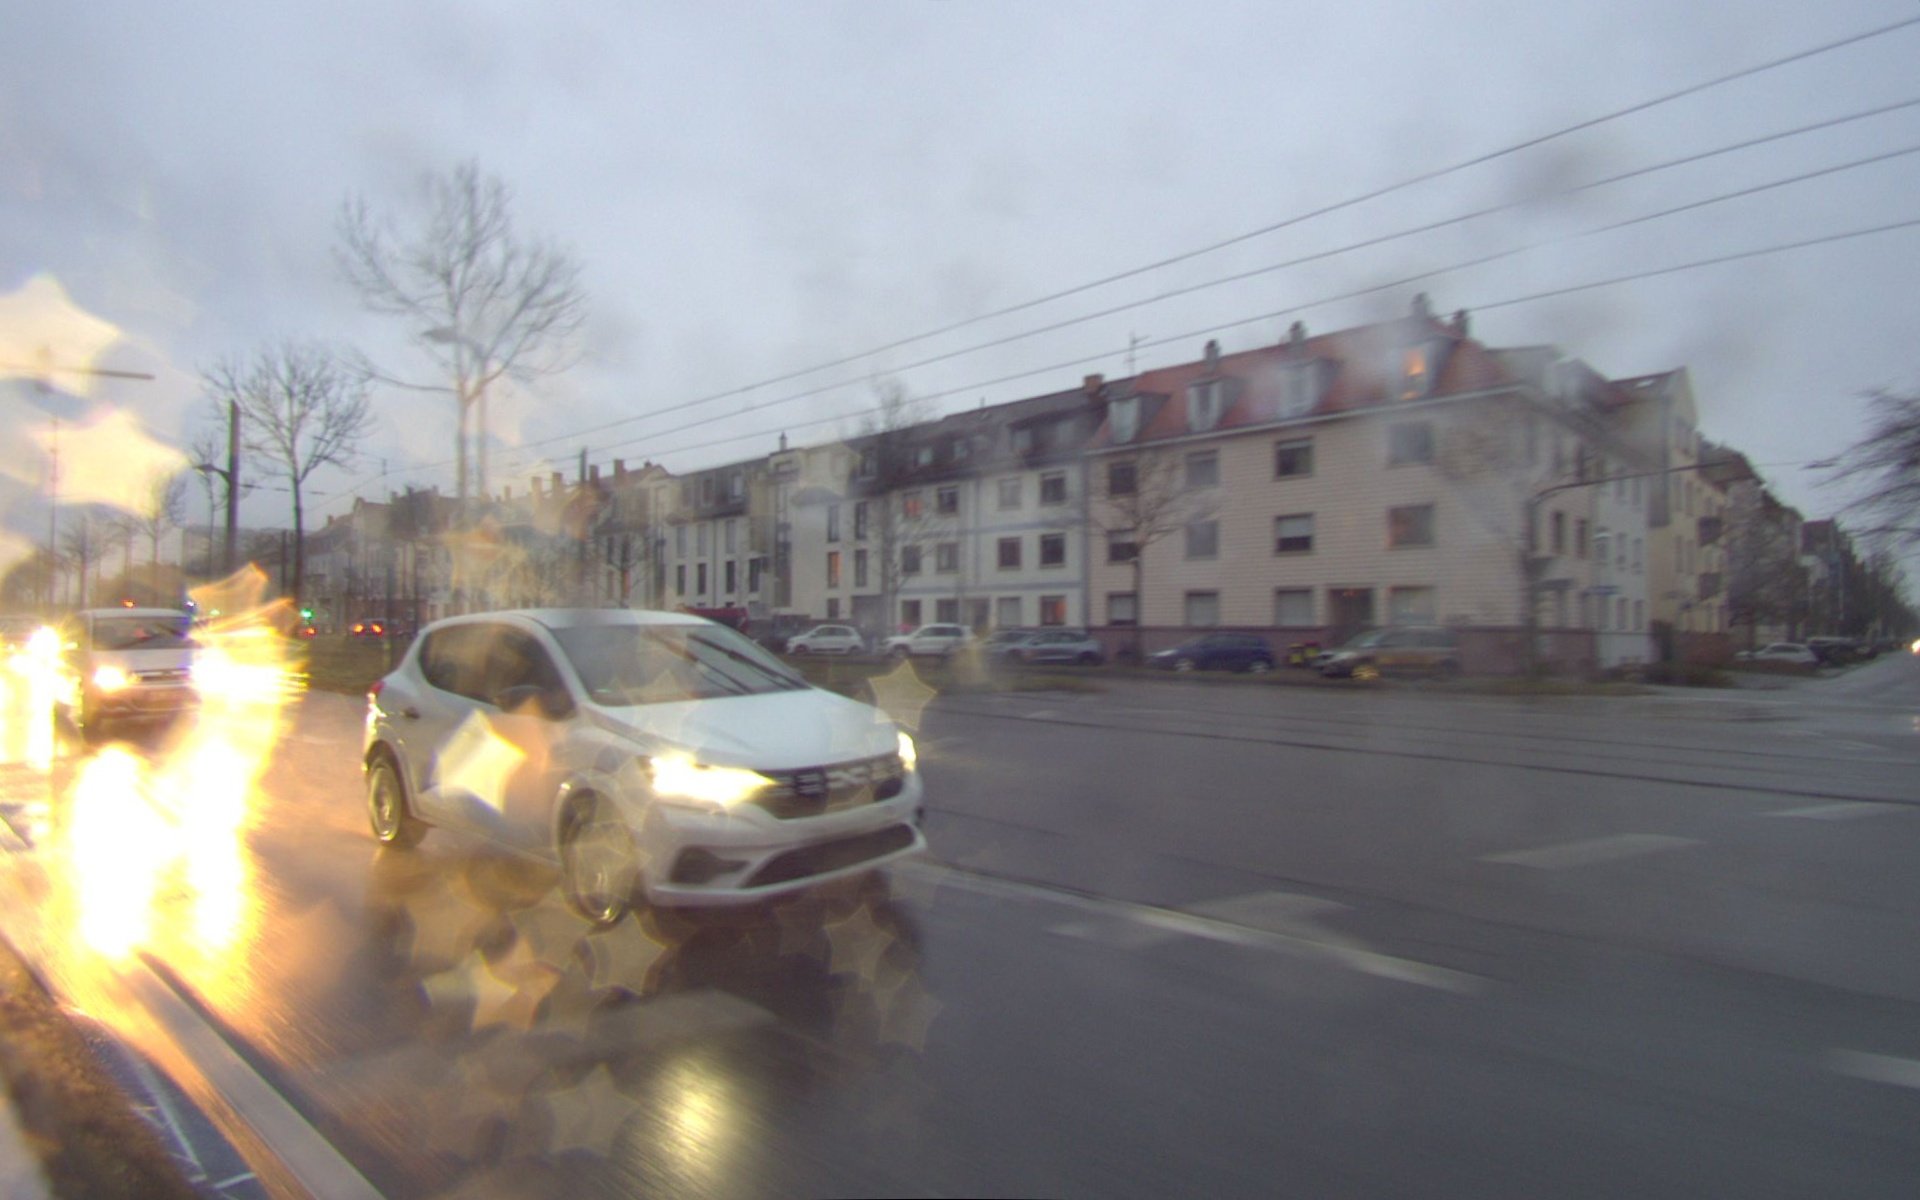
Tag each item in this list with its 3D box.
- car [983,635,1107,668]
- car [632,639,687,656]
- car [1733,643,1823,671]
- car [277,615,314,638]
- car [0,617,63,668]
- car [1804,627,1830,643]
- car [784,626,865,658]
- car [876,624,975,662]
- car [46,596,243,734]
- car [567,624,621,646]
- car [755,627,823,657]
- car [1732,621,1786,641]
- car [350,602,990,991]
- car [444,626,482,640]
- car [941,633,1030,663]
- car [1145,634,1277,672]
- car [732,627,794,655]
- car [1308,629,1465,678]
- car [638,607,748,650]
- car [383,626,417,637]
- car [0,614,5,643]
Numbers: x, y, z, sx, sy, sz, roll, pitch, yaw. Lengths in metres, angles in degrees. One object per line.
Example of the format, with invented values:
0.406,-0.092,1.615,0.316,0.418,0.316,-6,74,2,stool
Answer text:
3.114,1.906,37.263,4.333,1.140,1.251,1,0,-12,car
-17.970,2.842,60.652,3.058,1.014,1.189,0,-2,-12,car
45.108,3.132,55.875,3.517,1.448,1.550,0,0,16,car
-62.059,2.472,94.501,3.999,2.029,1.972,0,0,42,car
-30.331,1.354,32.489,4.092,1.513,1.949,-2,-1,43,car
104.017,4.205,122.779,3.940,1.796,2.002,0,0,-44,car
-6.234,1.923,46.530,3.548,1.395,1.317,0,-2,-14,car
-1.450,1.767,41.919,3.947,1.516,1.316,0,0,-11,car
-11.870,0.804,14.638,1.992,1.690,4.005,0,0,-42,car
-23.658,2.233,65.475,3.151,1.326,1.556,0,0,-16,car
-8.296,2.014,48.968,3.153,1.395,1.317,0,-2,-14,car
64.609,2.491,81.826,3.411,1.448,1.411,0,0,40,car
-1.893,0.755,5.833,3.999,1.477,1.690,0,0,42,car
-41.313,2.727,84.063,2.589,1.114,1.256,0,0,-44,car
0.986,1.872,39.660,3.260,1.140,1.316,1,-2,-12,car
8.143,1.700,32.921,3.935,1.140,1.365,0,0,-10,car
-10.004,2.073,51.330,3.058,1.395,1.316,0,-2,-12,car
12.023,1.477,28.580,3.934,1.265,1.448,0,0,-12,car
-14.721,1.546,56.103,5.811,2.271,1.826,0,0,-12,car
-51.276,2.878,92.645,2.528,0.994,1.259,0,0,-16,car
-58.155,1.697,60.237,3.644,1.668,1.706,0,0,44,car
